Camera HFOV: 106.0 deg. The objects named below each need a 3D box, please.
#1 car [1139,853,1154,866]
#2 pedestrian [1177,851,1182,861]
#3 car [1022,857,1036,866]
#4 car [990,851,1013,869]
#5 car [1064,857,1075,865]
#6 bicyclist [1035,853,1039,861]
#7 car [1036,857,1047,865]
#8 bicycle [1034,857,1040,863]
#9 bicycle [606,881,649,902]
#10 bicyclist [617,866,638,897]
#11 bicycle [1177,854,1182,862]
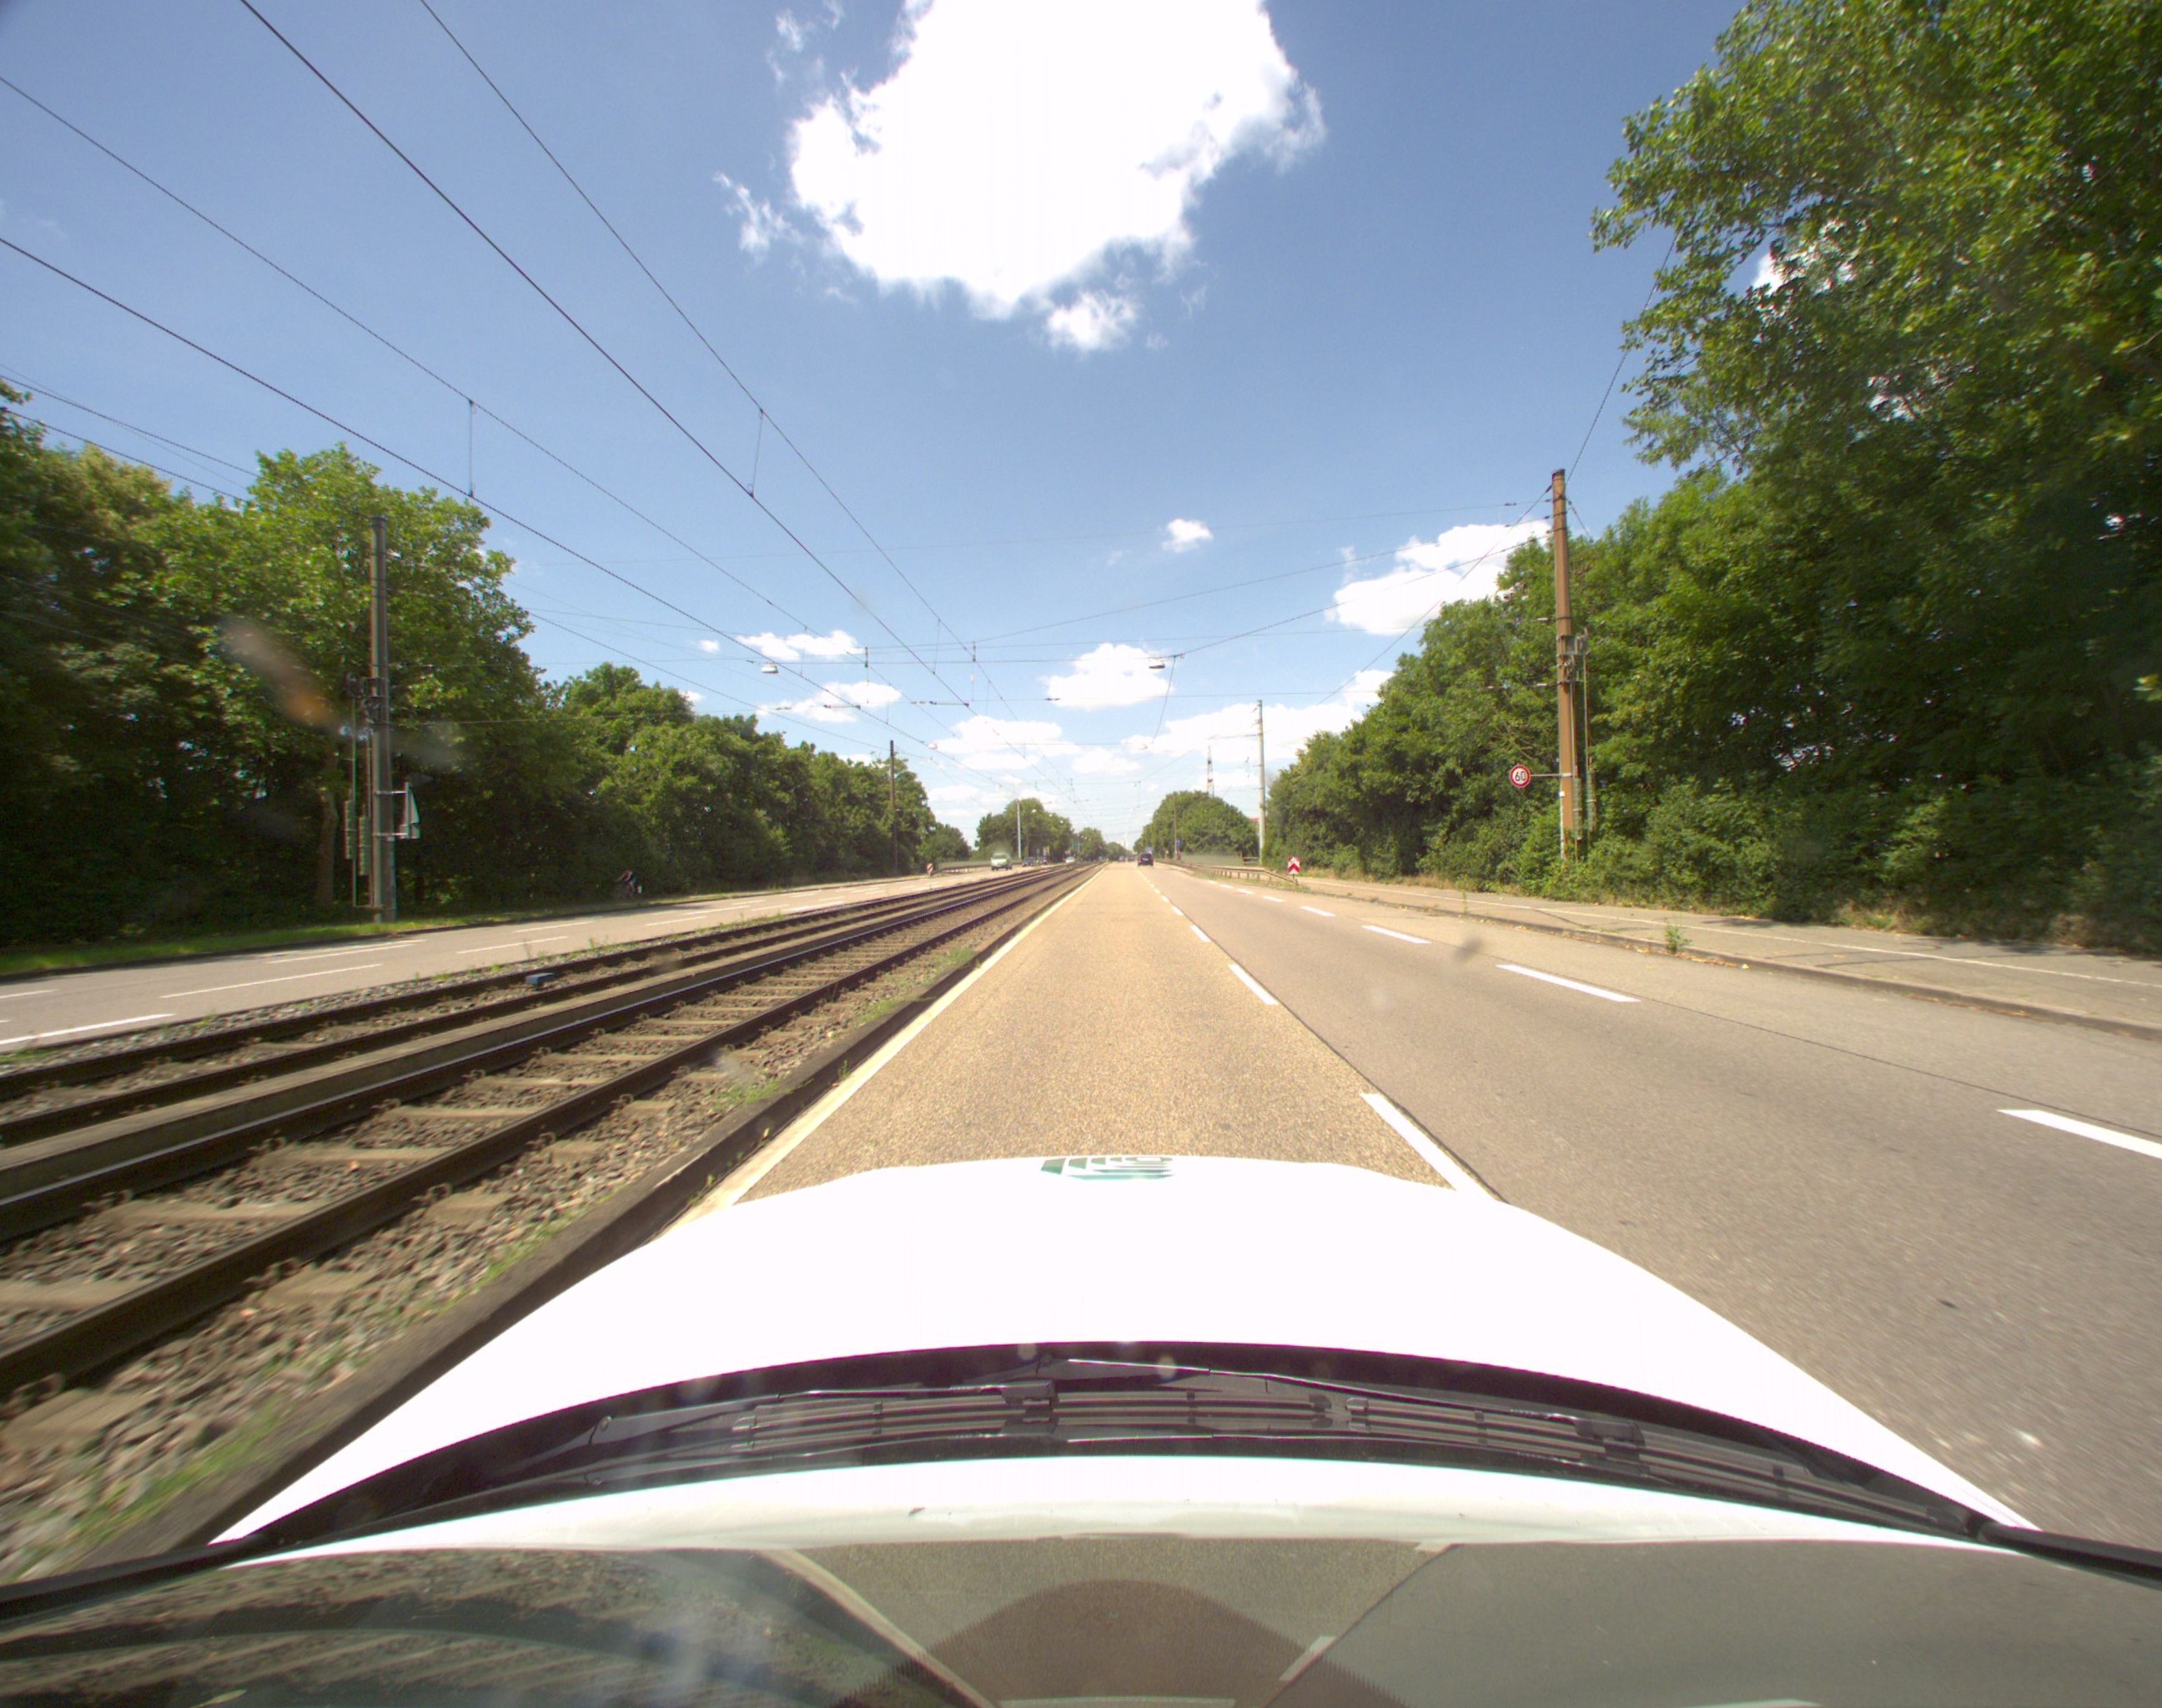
[{"bbox_3d":[7.642,0.637,95.133,1.580,1.343,3.273,-2,0,1],"label":"car"},{"bbox_3d":[13.873,0.233,115.068,0.625,1.374,1.051,-2,-1,3],"label":"pedestrian"},{"bbox_3d":[-7.806,1.147,121.924,1.556,1.347,3.932,-2,-1,3],"label":"car"},{"bbox_3d":[-8.924,0.637,91.991,1.804,1.925,5.183,-2,-1,3],"label":"car"},{"bbox_3d":[-2.347,1.386,165.211,1.704,1.420,4.628,-2,-1,3],"label":"car"},{"bbox_3d":[-8.822,0.592,163.156,0.760,1.622,0.838,0,-1,2],"label":"bicyclist"},{"bbox_3d":[-6.821,1.234,141.636,1.568,1.400,3.940,-2,-1,3],"label":"car"},{"bbox_3d":[-8.829,1.151,163.182,0.853,1.185,2.063,0,-1,2],"label":"bicycle"},{"bbox_3d":[-20.195,1.656,36.294,0.583,0.819,2.071,-3,0,5],"label":"bicycle"},{"bbox_3d":[-20.229,1.222,36.335,0.566,1.367,0.632,0,-1,4],"label":"bicyclist"},{"bbox_3d":[13.862,0.579,114.999,0.557,1.024,1.849,-2,-1,3],"label":"bicycle"}]
